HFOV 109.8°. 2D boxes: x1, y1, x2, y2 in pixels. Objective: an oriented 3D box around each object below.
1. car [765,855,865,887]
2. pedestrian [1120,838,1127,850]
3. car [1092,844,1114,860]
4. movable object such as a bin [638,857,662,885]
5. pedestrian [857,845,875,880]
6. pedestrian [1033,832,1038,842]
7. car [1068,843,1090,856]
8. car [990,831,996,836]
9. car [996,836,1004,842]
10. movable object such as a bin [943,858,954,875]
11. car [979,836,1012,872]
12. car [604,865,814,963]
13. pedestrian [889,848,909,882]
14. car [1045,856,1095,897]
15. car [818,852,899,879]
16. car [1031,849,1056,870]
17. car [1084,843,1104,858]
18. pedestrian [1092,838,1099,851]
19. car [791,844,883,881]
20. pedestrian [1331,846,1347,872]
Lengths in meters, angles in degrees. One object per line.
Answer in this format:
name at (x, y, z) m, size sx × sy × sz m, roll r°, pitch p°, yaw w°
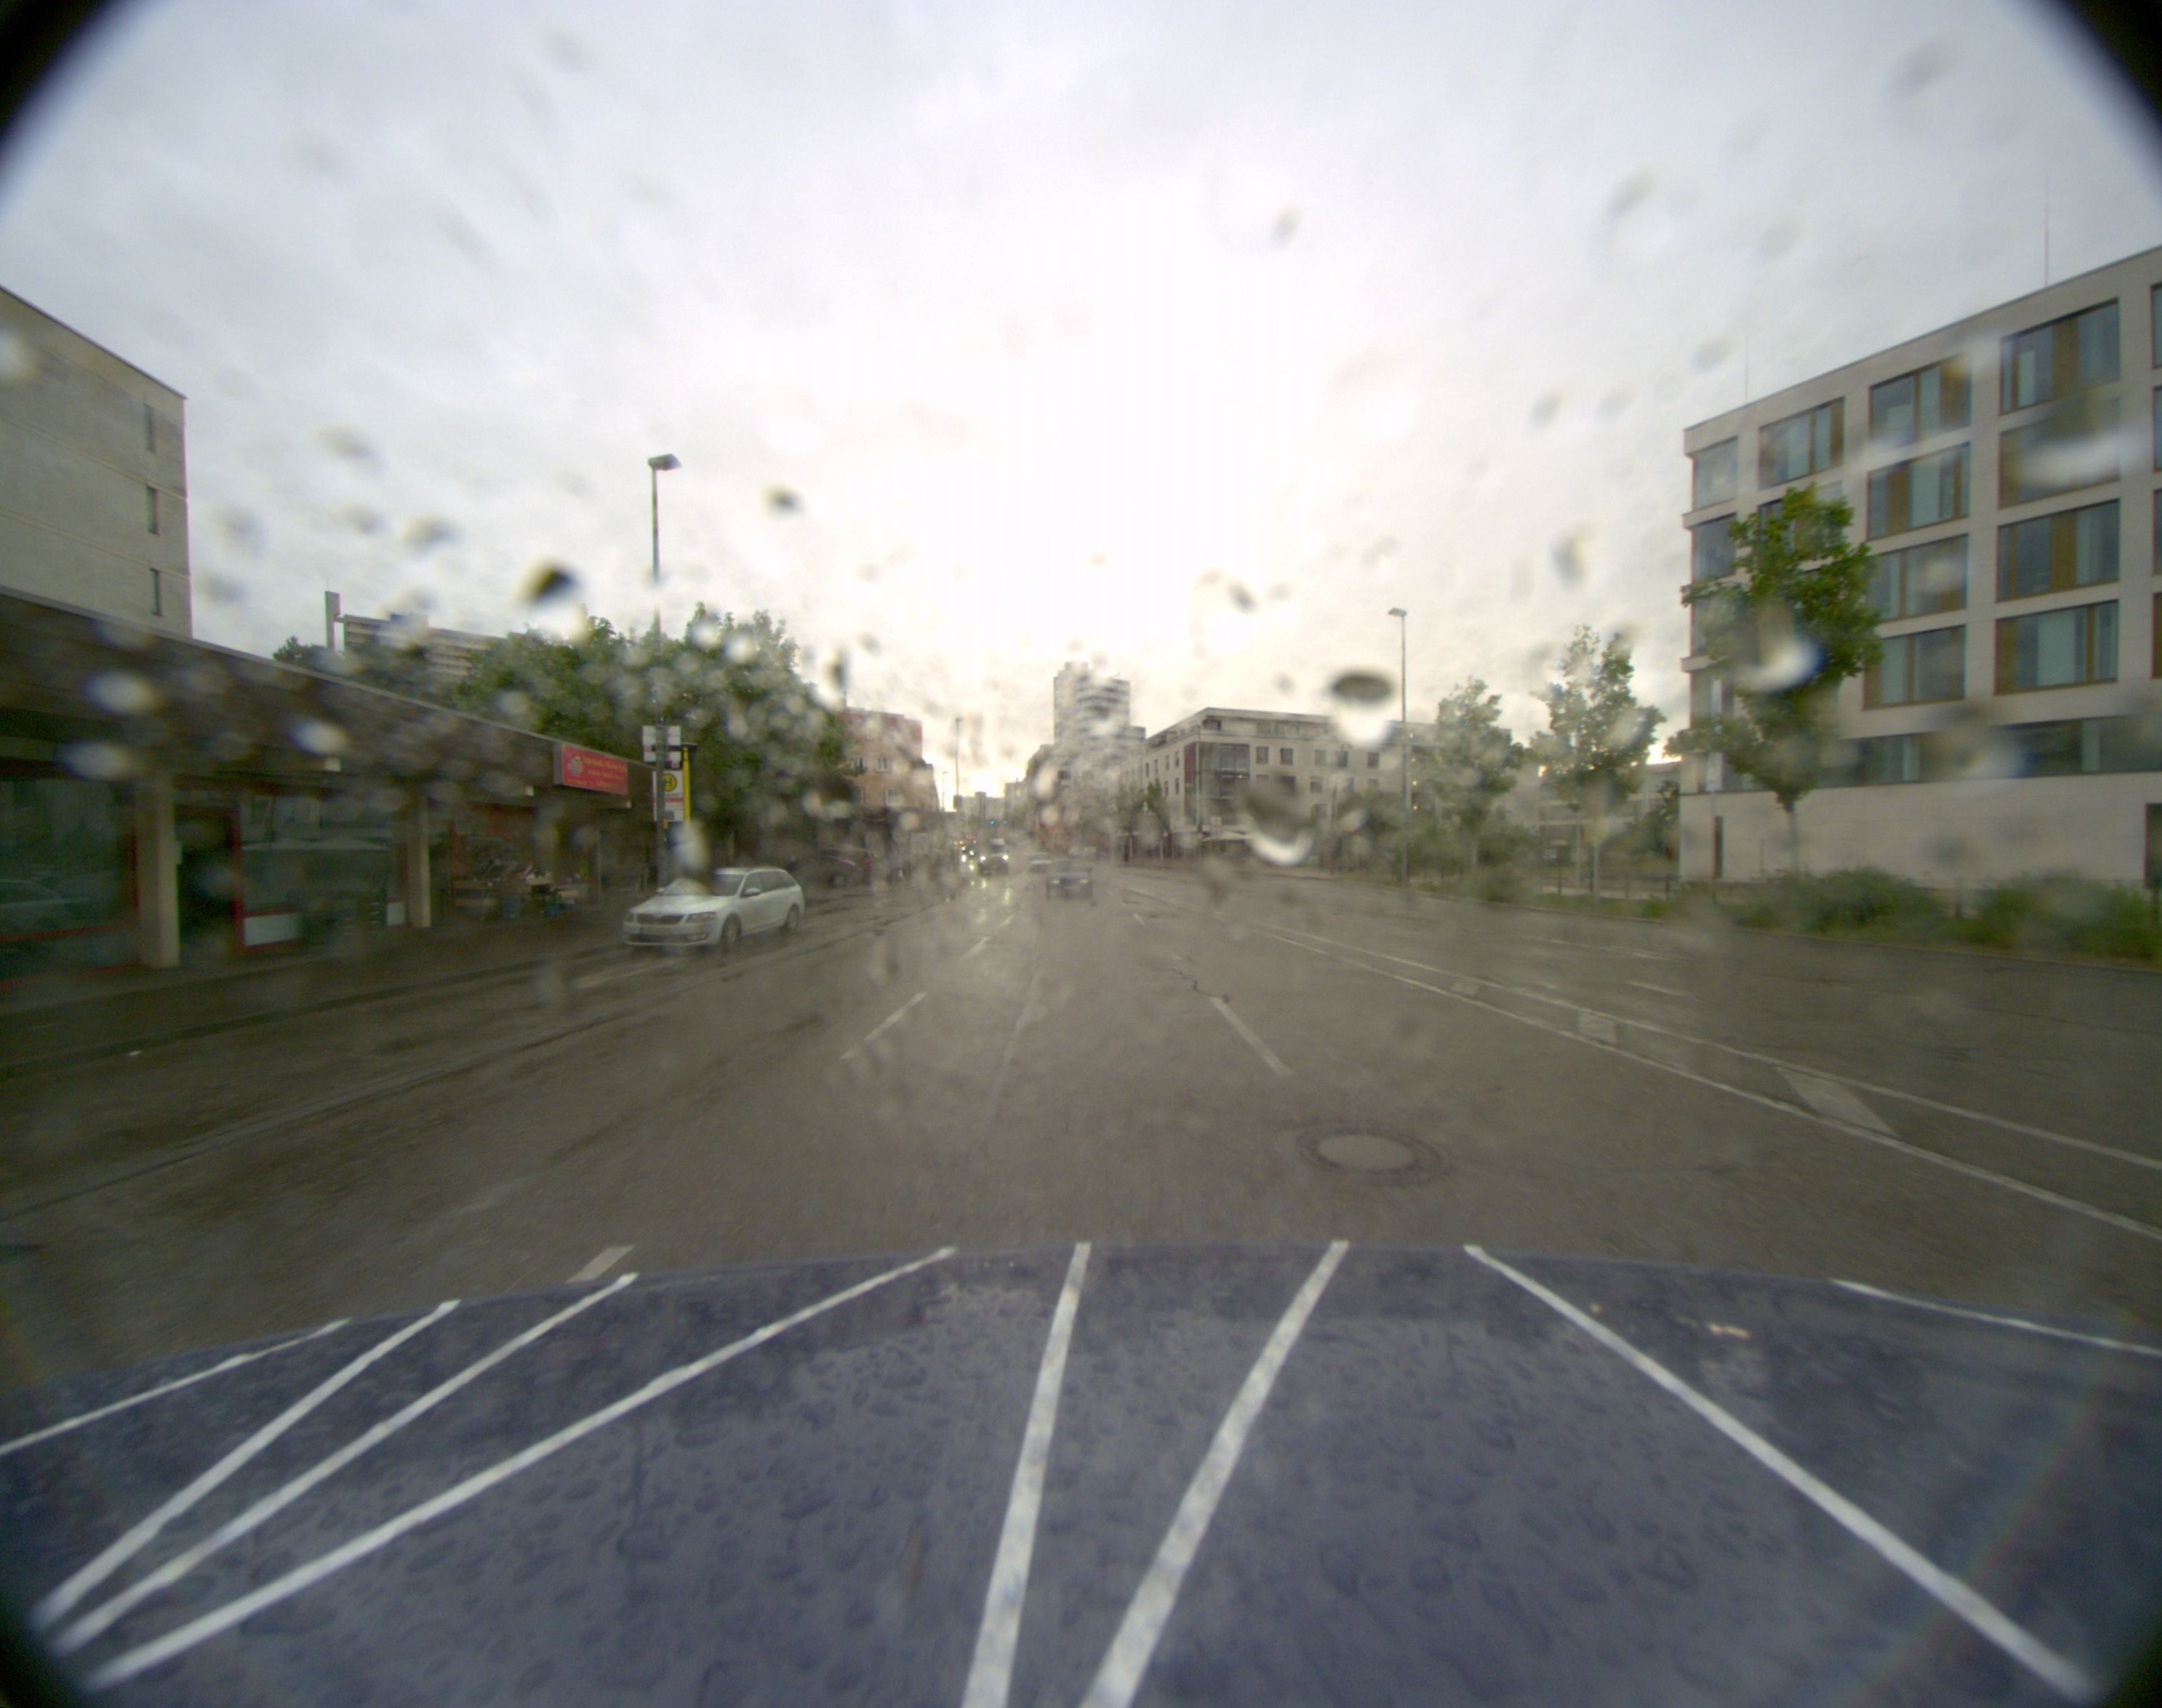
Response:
car at (-12.560, 0.785, 36.129) m, size 4.161 × 1.446 × 1.801 m, roll 0°, pitch 2°, yaw -7°
pedestrian at (5.905, -1.376, 105.824) m, size 0.811 × 1.729 × 1.001 m, roll 0°, pitch 3°, yaw -11°
car at (2.383, -0.235, 83.377) m, size 1.593 × 1.573 × 4.465 m, roll 0°, pitch 1°, yaw -10°
movable object such as a bin at (-16.599, 0.659, 29.274) m, size 0.646 × 1.050 × 0.640 m, roll 0°, pitch 1°, yaw -10°
pedestrian at (-11.538, 0.432, 40.773) m, size 0.711 × 1.811 × 0.794 m, roll -2°, pitch 4°, yaw -35°
pedestrian at (-8.804, -3.406, 148.079) m, size 0.663 × 1.911 × 0.945 m, roll -3°, pitch 4°, yaw -18°
car at (-0.279, -0.552, 94.189) m, size 1.802 × 1.455 × 4.471 m, roll -1°, pitch 3°, yaw -12°
car at (-28.690, -6.734, 246.714) m, size 1.655 × 1.410 × 4.133 m, roll 2°, pitch 3°, yaw -9°
car at (-21.718, -3.914, 203.098) m, size 1.887 × 1.515 × 4.178 m, roll 0°, pitch 3°, yaw -10°
movable object such as a bin at (-8.400, 0.758, 48.123) m, size 0.638 × 1.068 × 0.698 m, roll 0°, pitch 0°, yaw -6°
car at (-6.382, -0.098, 57.175) m, size 2.298 × 2.369 × 6.618 m, roll 0°, pitch 3°, yaw -6°
car at (-6.925, 1.026, 14.760) m, size 1.734 × 1.489 × 4.480 m, roll 1°, pitch 1°, yaw 2°
pedestrian at (-9.226, 0.550, 38.530) m, size 0.878 × 1.727 × 0.759 m, roll 1°, pitch 1°, yaw -7°
car at (-0.483, 0.826, 29.436) m, size 1.689 × 1.373 × 3.792 m, roll -2°, pitch 1°, yaw -4°
car at (-12.263, 0.638, 42.086) m, size 3.999 × 1.439 × 1.745 m, roll 0°, pitch 1°, yaw -5°
car at (-2.798, 0.397, 55.832) m, size 1.663 × 1.301 × 3.991 m, roll 0°, pitch 3°, yaw -5°
car at (1.480, -0.393, 88.301) m, size 1.697 × 1.502 × 4.572 m, roll 0°, pitch 3°, yaw -7°
pedestrian at (1.923, -1.270, 101.752) m, size 0.803 × 1.778 × 0.881 m, roll 0°, pitch 3°, yaw -10°
car at (-12.364, 0.411, 38.695) m, size 4.106 × 1.860 × 1.875 m, roll 0°, pitch 1°, yaw -5°
pedestrian at (17.604, 0.348, 51.815) m, size 0.786 × 1.736 × 0.672 m, roll -1°, pitch 4°, yaw -24°
